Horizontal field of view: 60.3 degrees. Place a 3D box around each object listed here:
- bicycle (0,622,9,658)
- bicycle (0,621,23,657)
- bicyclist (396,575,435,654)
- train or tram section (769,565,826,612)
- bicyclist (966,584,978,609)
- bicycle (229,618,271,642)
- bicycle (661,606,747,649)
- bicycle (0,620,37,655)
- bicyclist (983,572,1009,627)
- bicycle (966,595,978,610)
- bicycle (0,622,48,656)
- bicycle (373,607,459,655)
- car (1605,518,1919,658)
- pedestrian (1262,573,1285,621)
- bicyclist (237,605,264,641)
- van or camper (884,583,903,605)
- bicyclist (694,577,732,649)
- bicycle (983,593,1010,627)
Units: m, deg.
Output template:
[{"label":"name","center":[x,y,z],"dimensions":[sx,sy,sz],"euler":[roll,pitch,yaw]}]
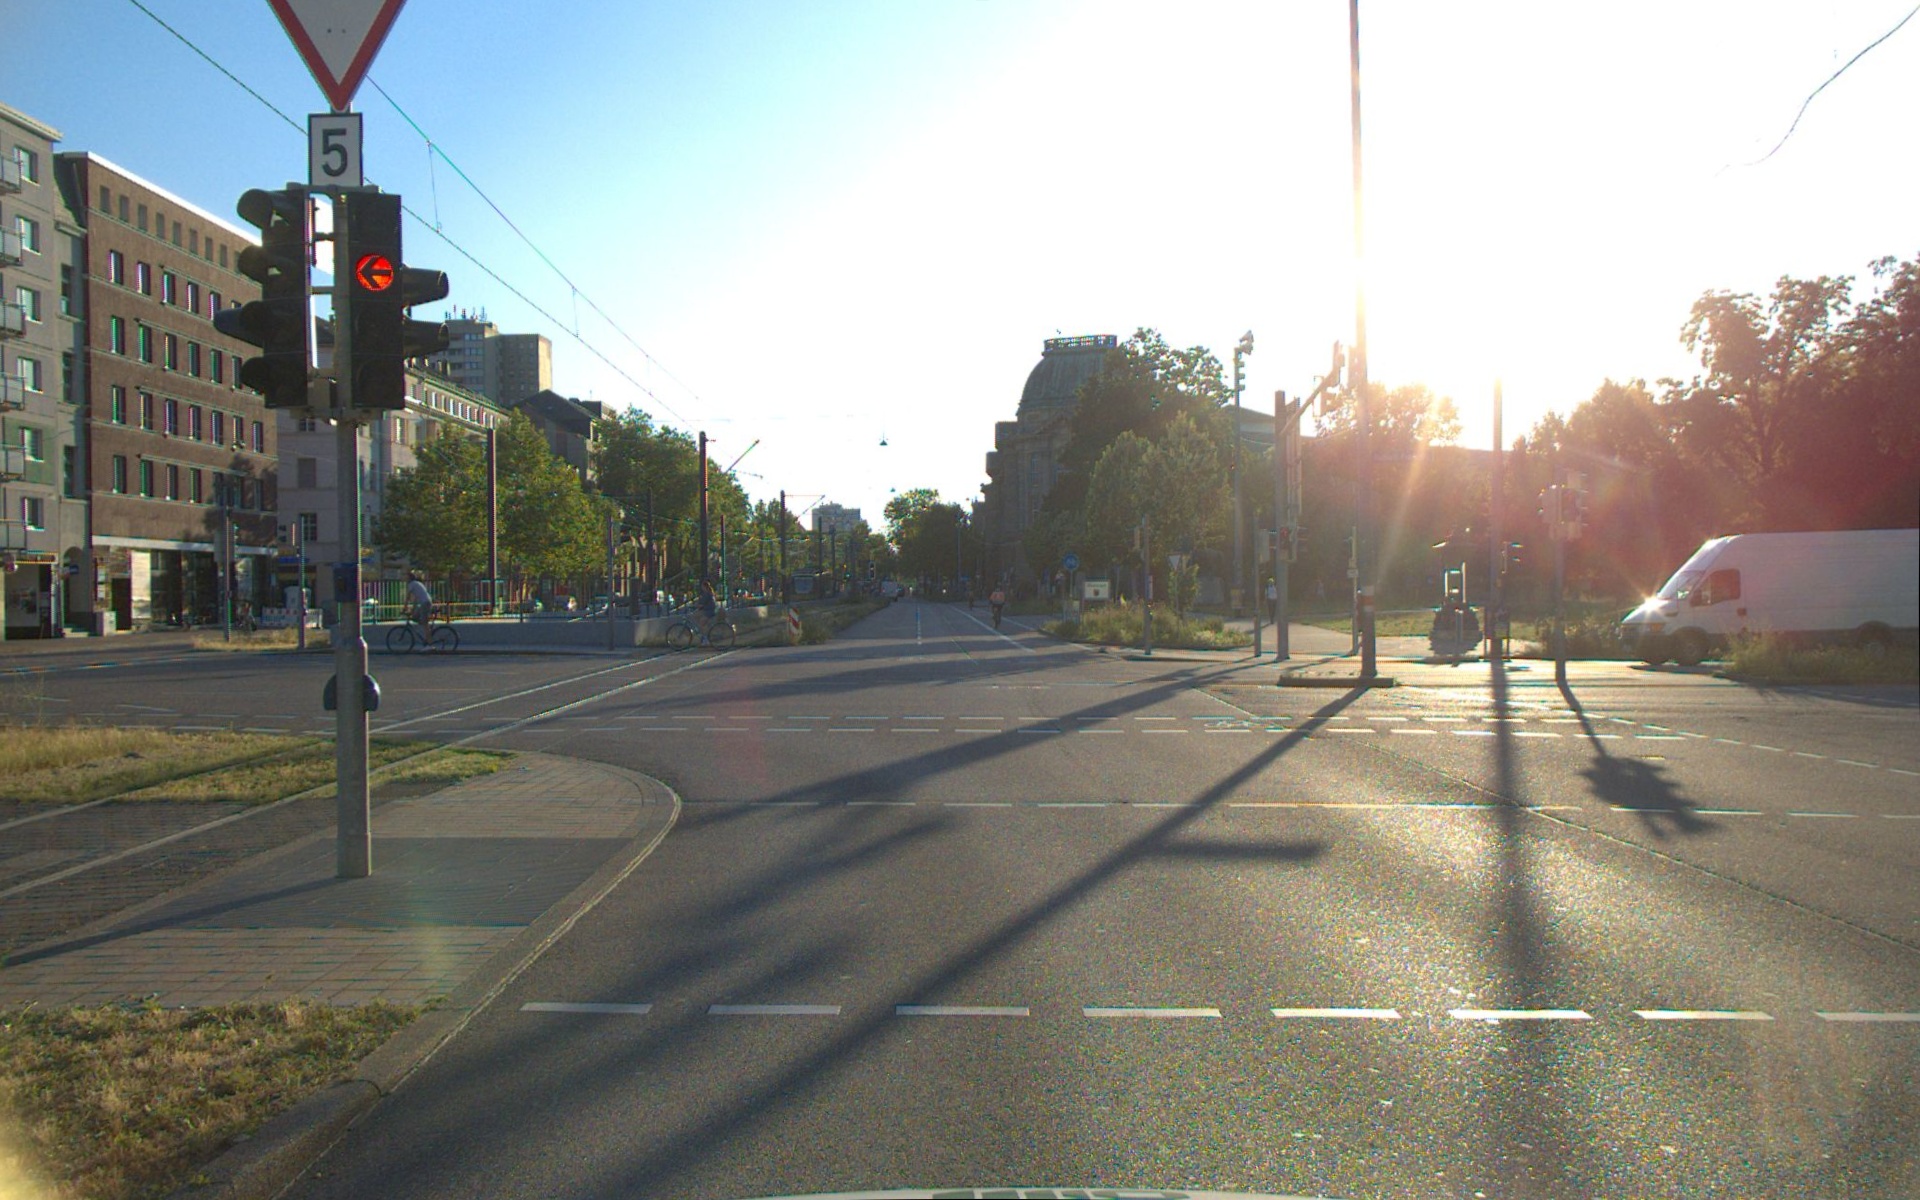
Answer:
[{"label":"bicycle","center":[-32.925,1.353,55.480],"dimensions":[1.655,1.173,0.705],"euler":[-1,0,1]},{"label":"bicycle","center":[-32.913,1.331,56.235],"dimensions":[1.655,1.199,0.748],"euler":[-1,0,1]},{"label":"bicyclist","center":[-12.925,0.344,39.255],"dimensions":[0.779,1.850,0.644],"euler":[-1,0,-12]},{"label":"train or tram section","center":[-14.866,-1.172,152.309],"dimensions":[4.297,3.916,11.409],"euler":[-1,2,-1]},{"label":"bicyclist","center":[0.946,-0.282,133.059],"dimensions":[0.907,2.049,0.850],"euler":[0,0,-1]},{"label":"bicycle","center":[-28.836,1.213,67.187],"dimensions":[0.497,0.961,1.667],"euler":[-1,0,25]},{"label":"bicycle","center":[-6.623,0.721,42.859],"dimensions":[2.118,1.102,0.539],"euler":[0,-1,4]},{"label":"bicycle","center":[-32.873,1.282,57.011],"dimensions":[1.655,1.190,0.748],"euler":[-1,0,1]},{"label":"bicyclist","center":[1.544,-0.011,70.589],"dimensions":[1.060,2.316,0.986],"euler":[0,0,-1]},{"label":"bicycle","center":[0.948,0.190,132.933],"dimensions":[0.905,1.131,2.332],"euler":[0,0,-1]},{"label":"bicycle","center":[-32.857,1.366,57.743],"dimensions":[1.655,1.164,0.697],"euler":[-1,0,1]},{"label":"bicycle","center":[-12.895,0.719,39.273],"dimensions":[1.868,1.094,0.630],"euler":[-1,0,-13]},{"label":"car","center":[17.813,-0.255,35.815],"dimensions":[6.866,2.877,2.093],"euler":[-1,0,1]},{"label":"pedestrian","center":[12.162,-0.120,64.224],"dimensions":[0.815,1.835,0.811],"euler":[-1,0,14]},{"label":"bicyclist","center":[-28.830,0.935,67.211],"dimensions":[0.489,1.451,0.857],"euler":[-1,0,26]},{"label":"van or camper","center":[-8.640,-0.776,215.201],"dimensions":[2.400,2.819,5.598],"euler":[-1,0,-3]},{"label":"bicyclist","center":[-6.407,0.333,42.840],"dimensions":[0.857,1.850,0.538],"euler":[0,0,4]},{"label":"bicycle","center":[1.545,0.425,70.592],"dimensions":[1.075,1.423,2.831],"euler":[-1,0,-1]}]
